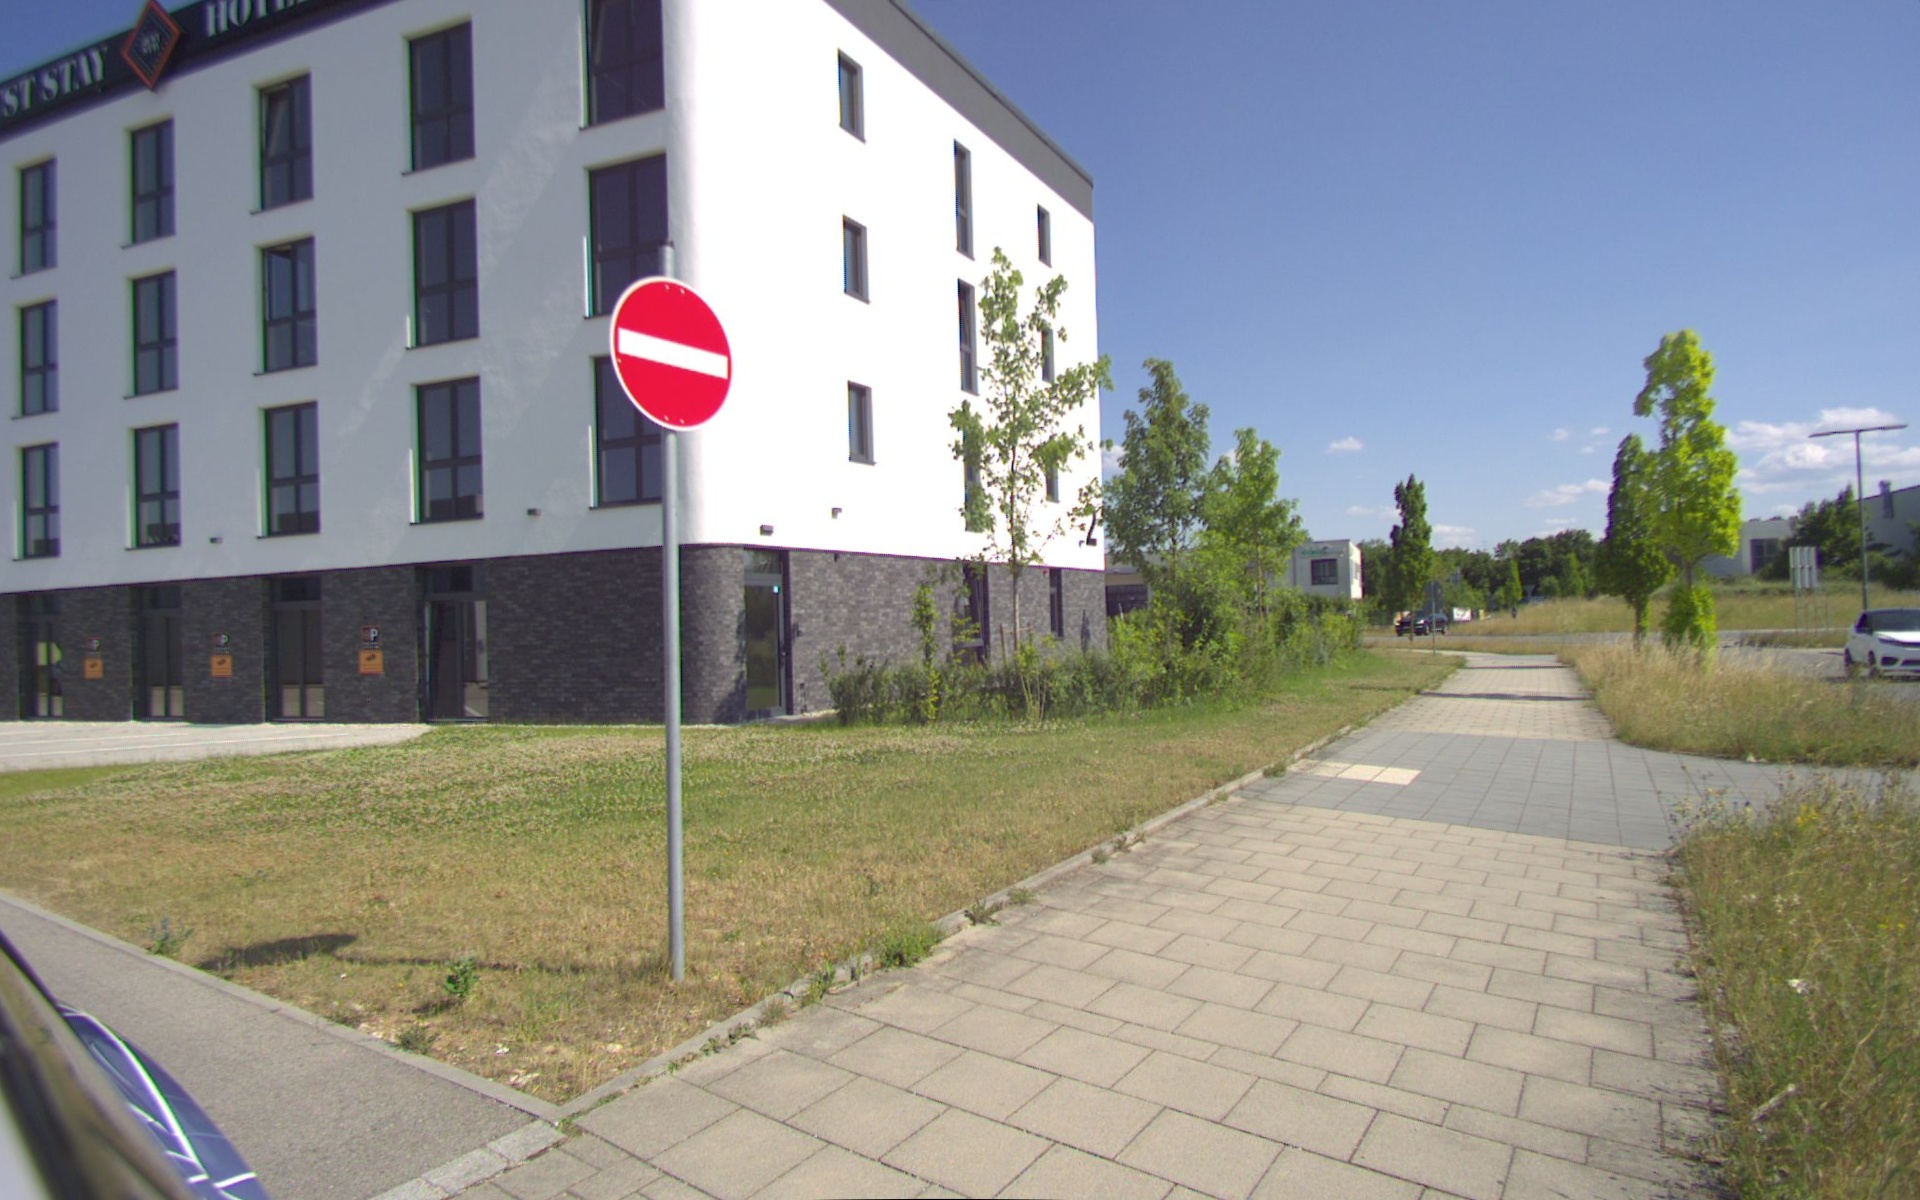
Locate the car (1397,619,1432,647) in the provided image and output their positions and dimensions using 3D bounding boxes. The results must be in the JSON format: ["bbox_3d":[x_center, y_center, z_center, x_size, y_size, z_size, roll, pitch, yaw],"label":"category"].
[{"bbox_3d":[28.402,2.060,63.329,1.831,1.586,3.969,-4,-2,23],"label":"car"}]

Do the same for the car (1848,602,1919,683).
[{"bbox_3d":[19.567,0.829,20.720,1.474,1.501,2.969,-4,-2,31],"label":"car"}]
